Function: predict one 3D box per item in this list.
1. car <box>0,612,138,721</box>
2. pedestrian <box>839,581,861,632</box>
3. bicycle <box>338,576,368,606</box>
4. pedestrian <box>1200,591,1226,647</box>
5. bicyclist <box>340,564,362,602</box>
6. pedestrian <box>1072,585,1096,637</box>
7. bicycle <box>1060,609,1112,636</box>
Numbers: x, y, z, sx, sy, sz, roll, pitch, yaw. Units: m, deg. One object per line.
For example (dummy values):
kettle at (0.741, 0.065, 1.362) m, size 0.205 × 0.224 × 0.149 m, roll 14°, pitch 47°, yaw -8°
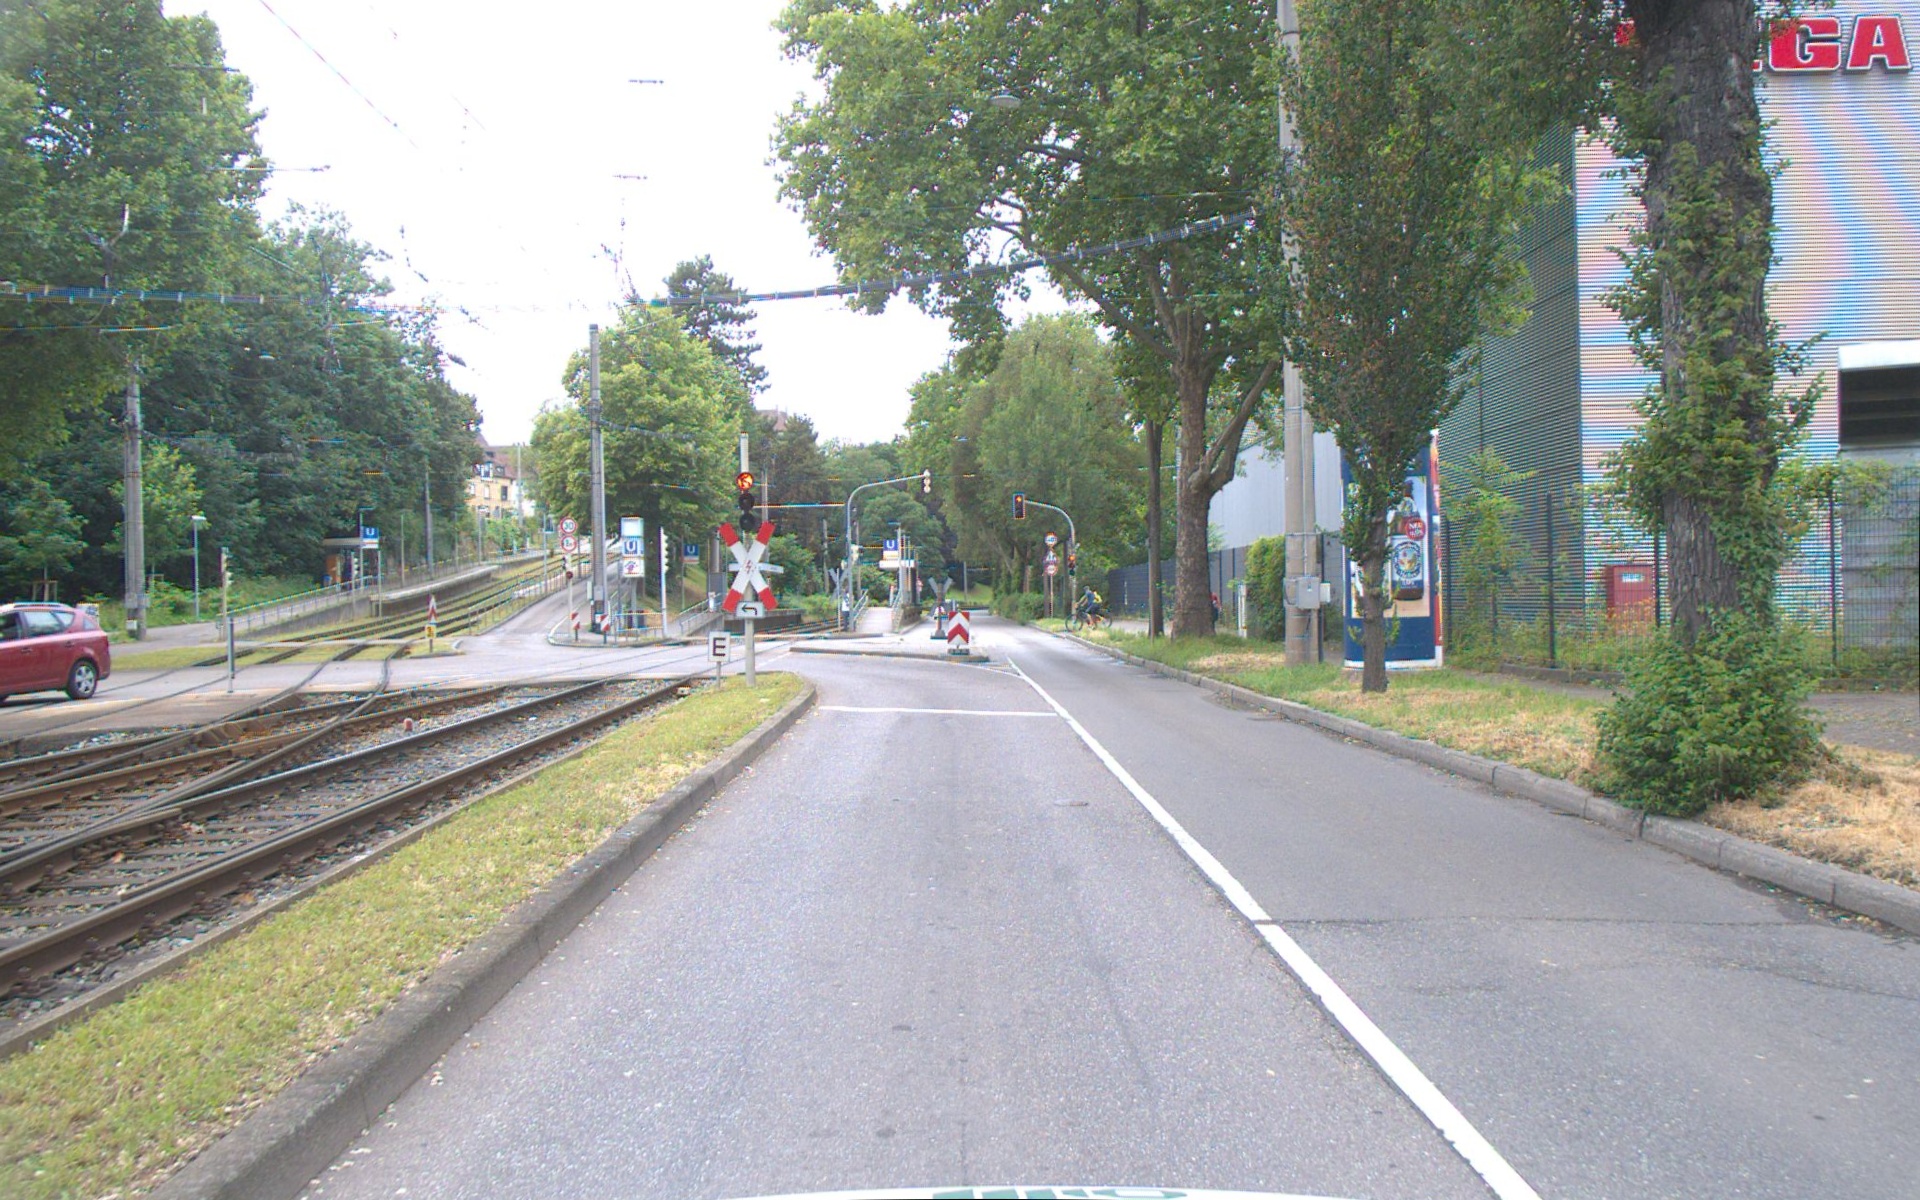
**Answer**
car at (-14.828, 0.996, 24.941) m, size 1.951 × 1.542 × 4.505 m, roll 0°, pitch 0°, yaw 12°
pedestrian at (-4.176, 0.242, 62.676) m, size 0.753 × 1.885 × 0.910 m, roll -1°, pitch 0°, yaw -1°
bicycle at (-30.638, -0.483, 83.514) m, size 0.809 × 1.366 × 2.991 m, roll -2°, pitch 3°, yaw -9°
pedestrian at (7.294, 0.540, 47.636) m, size 0.652 × 1.580 × 0.935 m, roll -1°, pitch 0°, yaw 5°
bicyclist at (-30.577, -0.852, 83.087) m, size 0.806 × 1.881 × 1.050 m, roll -1°, pitch 3°, yaw -9°
pedestrian at (4.982, 0.450, 66.555) m, size 0.911 × 2.049 × 0.668 m, roll -1°, pitch 0°, yaw 6°
bicycle at (5.075, 0.891, 66.554) m, size 2.030 × 1.024 × 0.668 m, roll -1°, pitch 0°, yaw 5°
